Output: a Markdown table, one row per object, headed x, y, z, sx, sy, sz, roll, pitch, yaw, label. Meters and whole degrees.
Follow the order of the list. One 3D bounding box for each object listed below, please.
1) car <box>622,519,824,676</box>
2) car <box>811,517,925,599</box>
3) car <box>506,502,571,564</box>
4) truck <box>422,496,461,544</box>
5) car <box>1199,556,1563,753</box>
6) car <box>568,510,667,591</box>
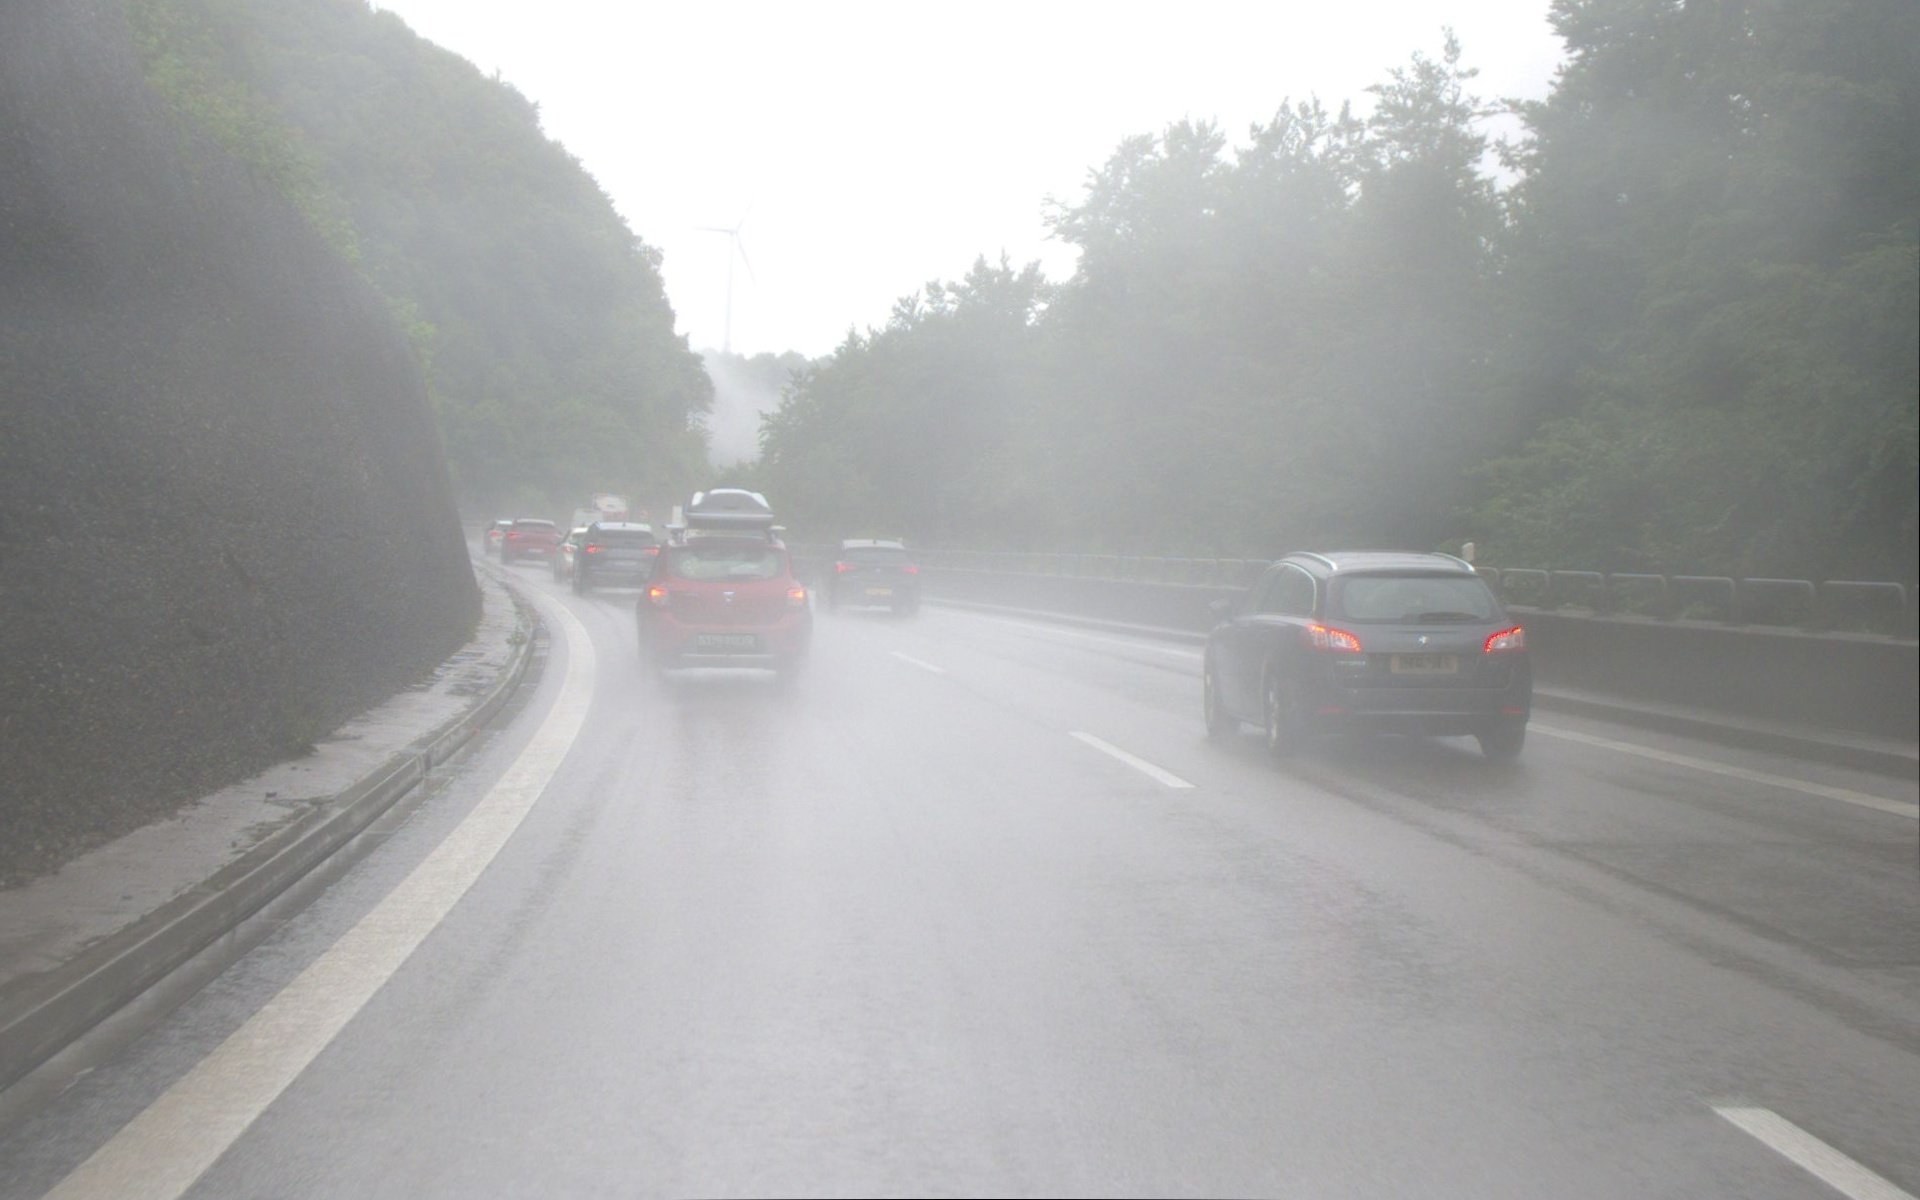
| x | y | z | sx | sy | sz | roll | pitch | yaw | label |
| --- | --- | --- | --- | --- | --- | --- | --- | --- | --- |
| -2.539 | -0.036 | 36.320 | 1.993 | 1.547 | 4.001 | 1 | 0 | -5 | car |
| -1.836 | -0.832 | 67.627 | 1.993 | 1.546 | 4.001 | 0 | 1 | -5 | car |
| -14.342 | -2.263 | 116.740 | 1.993 | 2.007 | 4.001 | 1 | 0 | -9 | car |
| -31.069 | -4.800 | 205.818 | 1.993 | 2.741 | 5.588 | 4 | 1 | -10 | truck |
| 2.979 | 0.345 | 25.154 | 1.800 | 1.303 | 4.001 | 0 | 1 | -6 | car |
| -7.565 | -1.072 | 75.665 | 1.993 | 1.678 | 4.001 | 1 | 0 | -8 | car |
